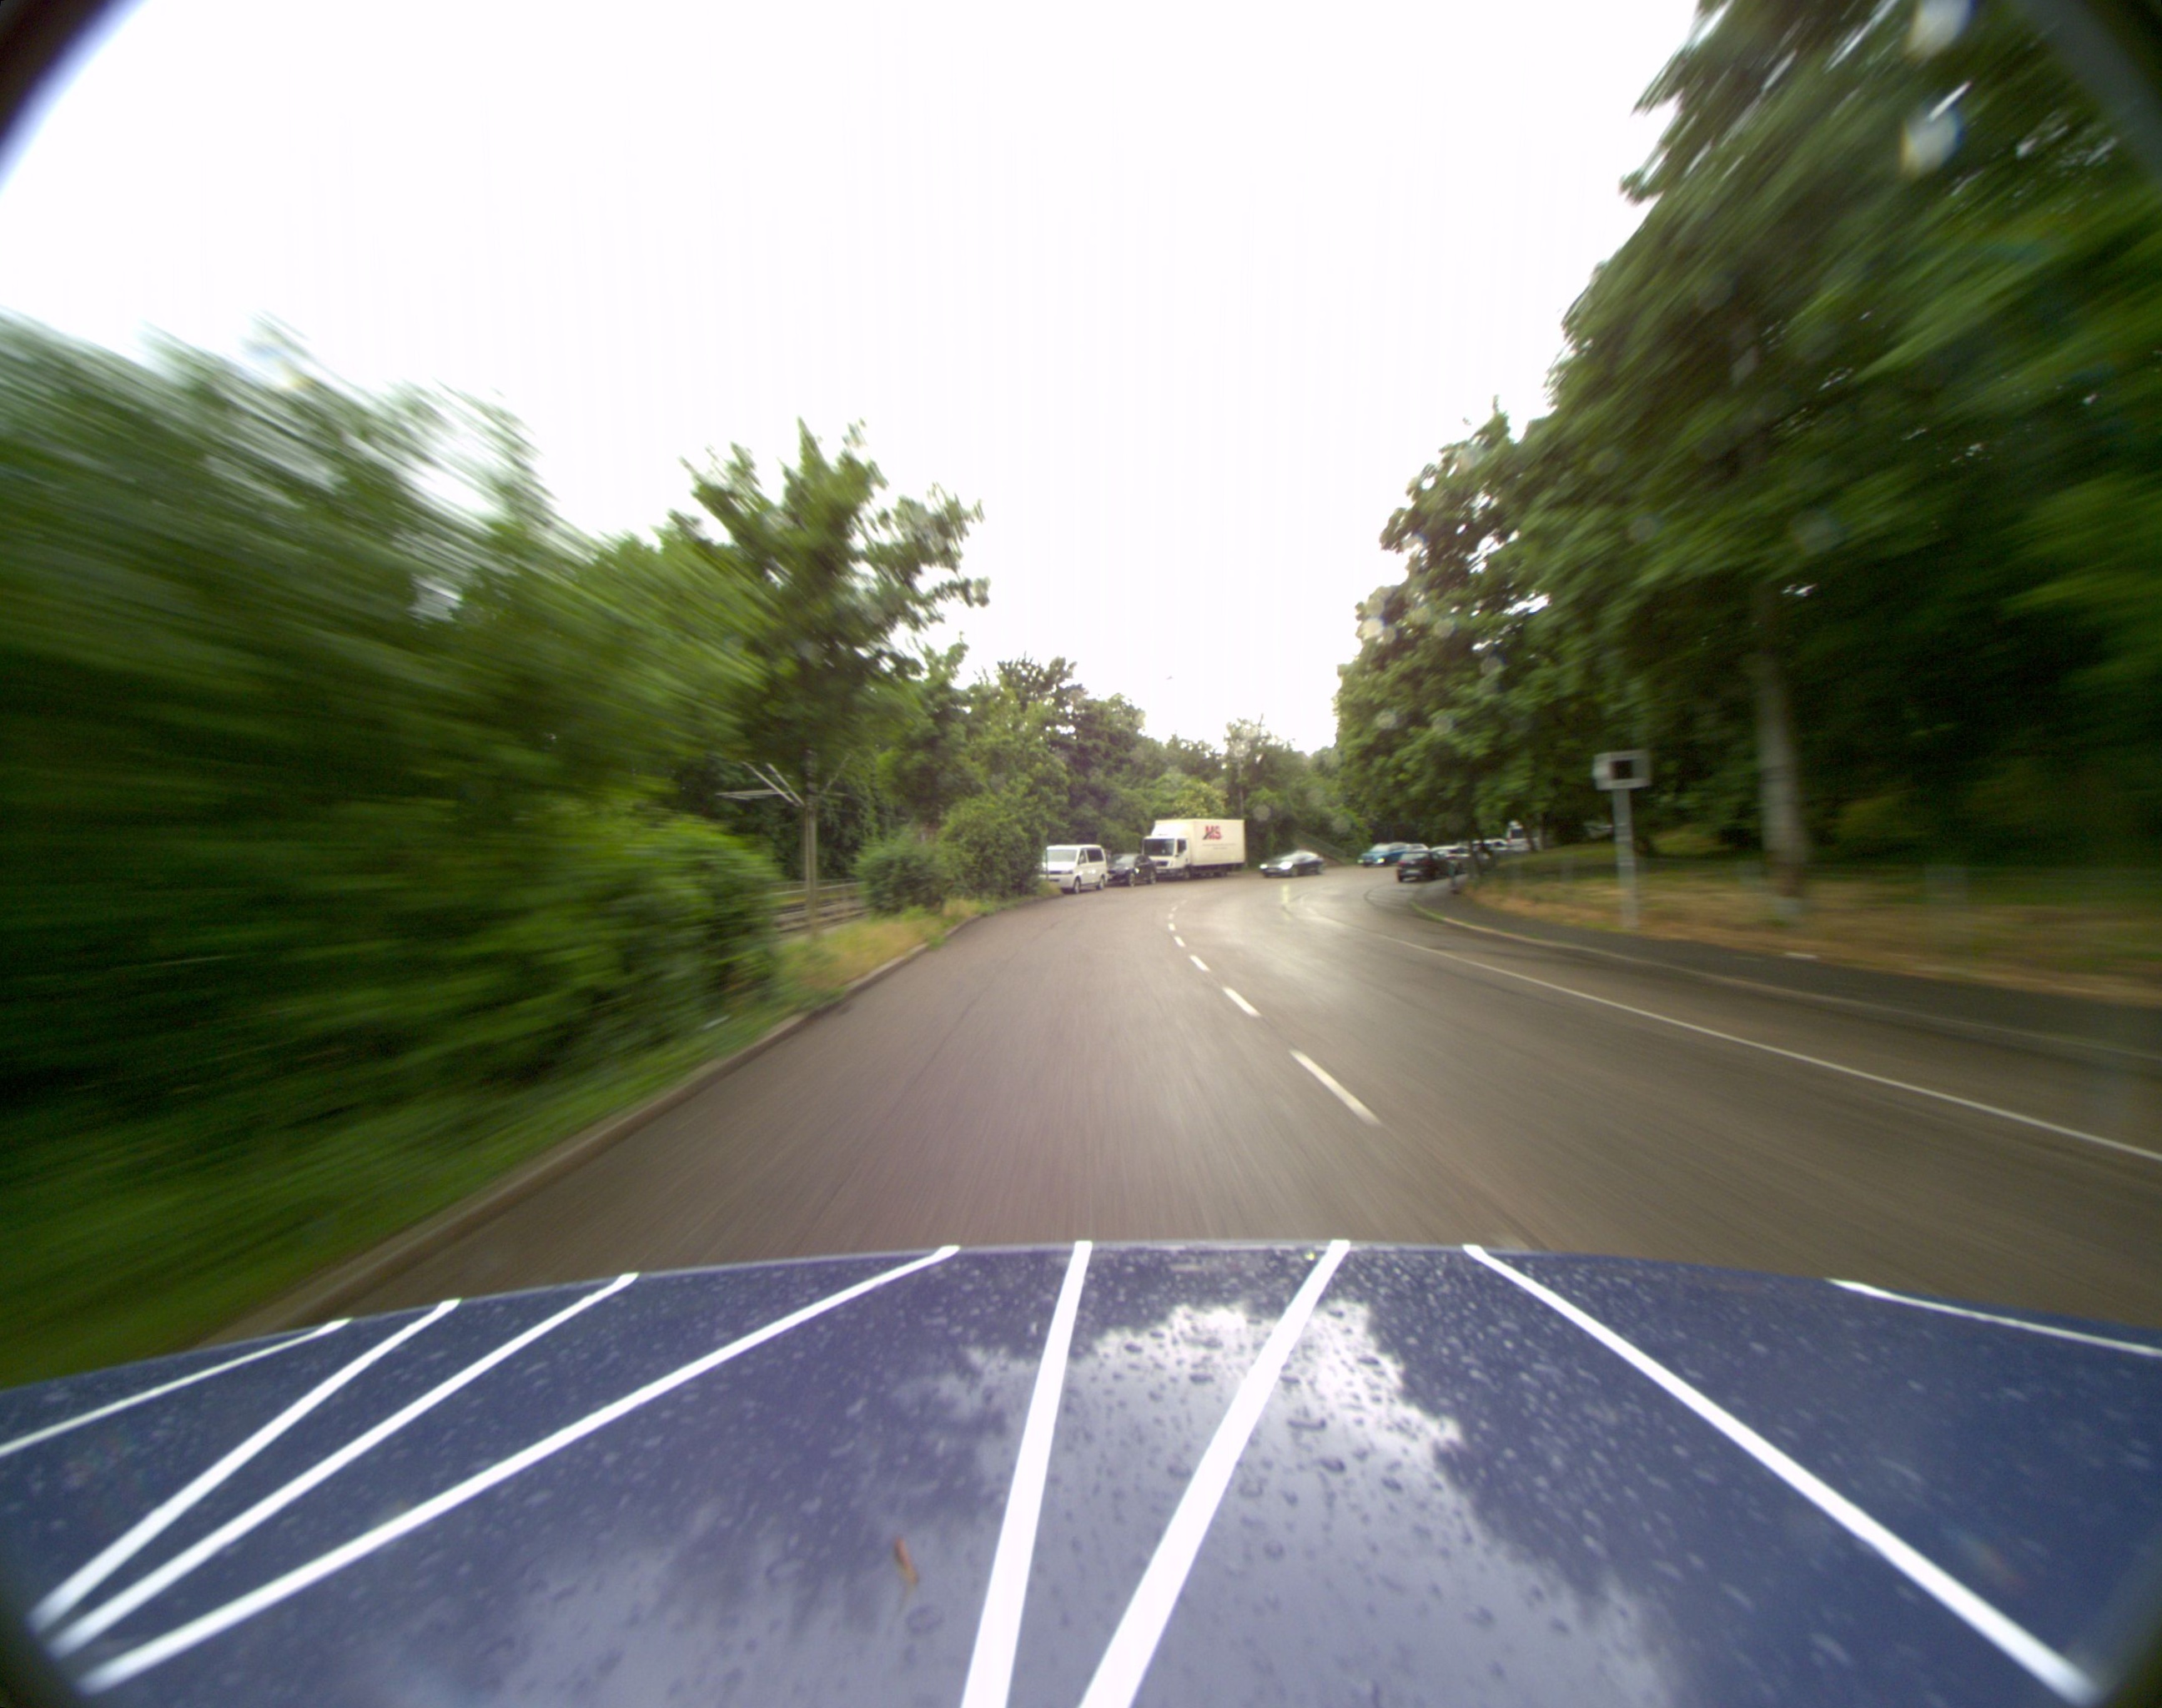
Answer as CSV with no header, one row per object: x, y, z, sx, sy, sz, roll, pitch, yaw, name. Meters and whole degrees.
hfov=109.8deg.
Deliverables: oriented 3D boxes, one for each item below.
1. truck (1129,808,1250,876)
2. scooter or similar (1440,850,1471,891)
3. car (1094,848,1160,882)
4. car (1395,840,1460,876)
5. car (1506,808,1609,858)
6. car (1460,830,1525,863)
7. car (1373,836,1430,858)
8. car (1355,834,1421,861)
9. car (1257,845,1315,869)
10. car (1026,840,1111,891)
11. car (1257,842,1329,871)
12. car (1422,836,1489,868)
6.525,-0.709,44.425,3.009,3.553,8.352,-2,0,39,truck
12.691,0.547,25.723,0.608,1.260,1.440,-7,-1,34,scooter or similar
2.359,0.524,37.953,1.719,1.547,4.284,-1,1,27,car
16.521,0.173,36.131,1.774,1.434,4.023,-2,1,40,car
29.470,-1.361,46.967,6.353,2.538,2.074,-5,9,-25,car
23.417,-0.449,43.171,4.031,1.574,1.805,-6,2,-39,car
25.090,-0.546,59.487,4.100,1.392,1.758,-3,-2,-24,car
21.161,-0.468,52.276,4.537,1.660,1.995,-2,0,-34,car
14.267,0.201,52.731,4.132,1.435,1.722,-3,0,-39,car
-0.418,0.412,32.084,1.878,2.002,4.698,0,1,22,car
12.420,0.123,44.437,4.509,1.530,1.895,-2,0,-42,car
19.735,-0.107,40.000,4.054,1.448,1.753,-4,2,-42,car
